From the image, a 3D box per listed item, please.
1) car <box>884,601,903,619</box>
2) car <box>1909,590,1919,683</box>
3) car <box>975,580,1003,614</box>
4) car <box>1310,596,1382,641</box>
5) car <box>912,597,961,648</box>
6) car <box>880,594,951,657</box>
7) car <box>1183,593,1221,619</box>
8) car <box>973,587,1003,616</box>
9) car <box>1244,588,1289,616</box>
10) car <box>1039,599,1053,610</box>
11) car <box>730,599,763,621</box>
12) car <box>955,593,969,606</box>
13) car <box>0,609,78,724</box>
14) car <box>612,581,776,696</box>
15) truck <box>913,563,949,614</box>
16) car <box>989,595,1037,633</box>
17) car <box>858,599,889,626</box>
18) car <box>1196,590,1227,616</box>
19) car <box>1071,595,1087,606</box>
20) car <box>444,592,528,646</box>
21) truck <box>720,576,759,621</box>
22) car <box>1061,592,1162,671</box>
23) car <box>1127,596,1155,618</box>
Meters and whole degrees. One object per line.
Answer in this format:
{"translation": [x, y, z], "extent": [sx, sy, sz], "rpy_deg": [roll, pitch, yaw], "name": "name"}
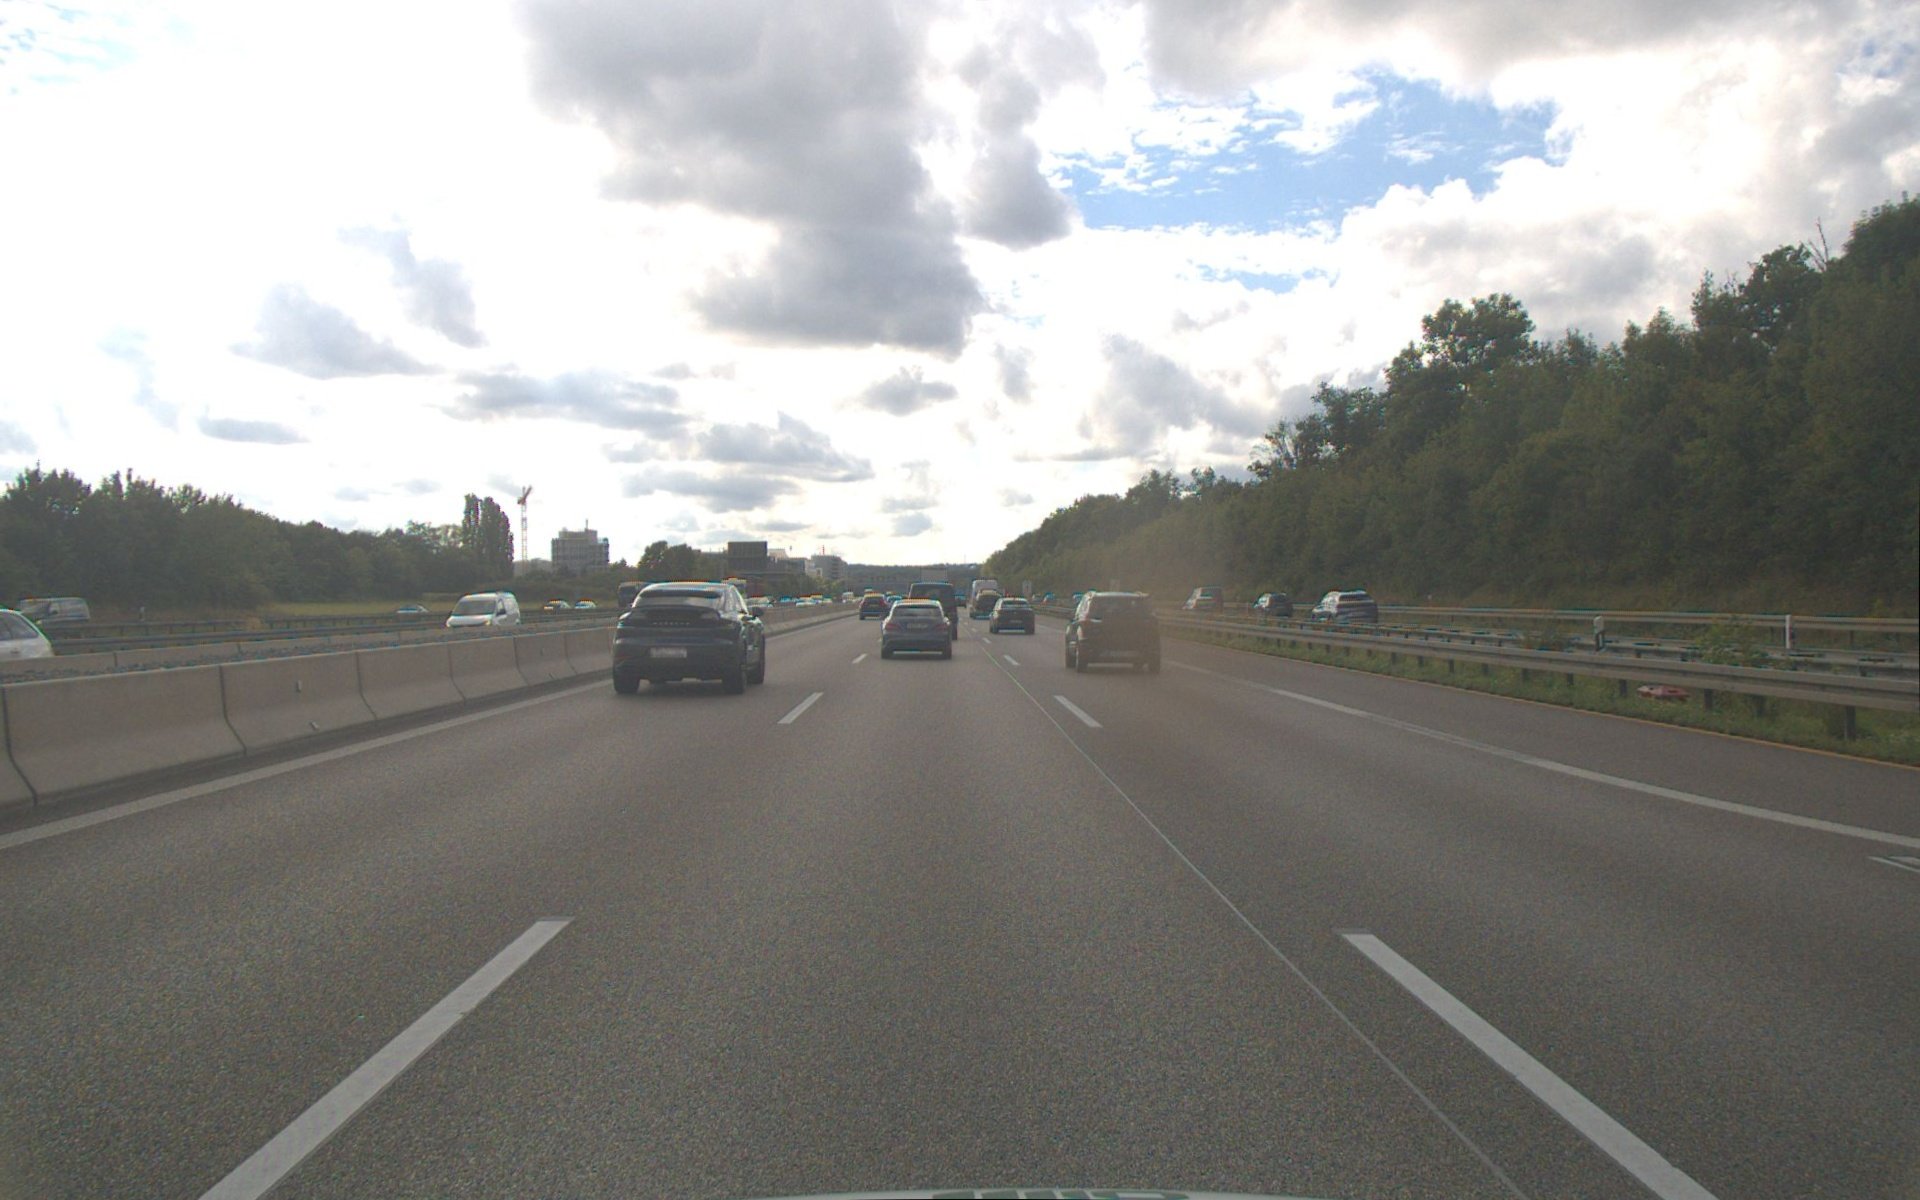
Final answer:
{"translation": [-5.997, 0.872, 149.737], "extent": [1.663, 1.639, 4.112], "rpy_deg": [0, 0, -2], "name": "car"}
{"translation": [16.433, 0.571, 24.727], "extent": [1.806, 1.510, 4.525], "rpy_deg": [-2, 0, -1], "name": "car"}
{"translation": [2.085, -0.231, 118.690], "extent": [1.835, 2.399, 4.281], "rpy_deg": [0, 0, -1], "name": "car"}
{"translation": [15.854, 0.732, 68.114], "extent": [1.809, 1.679, 4.305], "rpy_deg": [-2, 0, -1], "name": "car"}
{"translation": [-0.861, 0.793, 59.591], "extent": [1.686, 1.754, 4.390], "rpy_deg": [0, 0, -1], "name": "car"}
{"translation": [-1.117, 0.609, 41.755], "extent": [1.686, 1.505, 4.390], "rpy_deg": [0, 0, -1], "name": "car"}
{"translation": [14.972, 0.369, 102.470], "extent": [1.563, 1.573, 4.188], "rpy_deg": [0, 0, -3], "name": "car"}
{"translation": [1.871, 0.097, 111.848], "extent": [1.874, 1.952, 4.029], "rpy_deg": [0, 0, -1], "name": "car"}
{"translation": [18.341, 0.100, 99.111], "extent": [1.694, 1.573, 4.303], "rpy_deg": [-2, 0, -3], "name": "car"}
{"translation": [12.036, 0.608, 231.822], "extent": [1.694, 1.560, 4.451], "rpy_deg": [-1, 0, -1], "name": "car"}
{"translation": [-14.356, 0.659, 111.171], "extent": [1.721, 1.427, 4.074], "rpy_deg": [0, 0, -1], "name": "car"}
{"translation": [0.194, -0.089, 213.774], "extent": [1.716, 1.725, 4.189], "rpy_deg": [0, 0, -1], "name": "car"}
{"translation": [-12.864, 0.861, 20.353], "extent": [1.632, 1.426, 4.533], "rpy_deg": [-1, 0, -1], "name": "car"}
{"translation": [-4.176, 0.548, 26.814], "extent": [1.873, 1.664, 5.499], "rpy_deg": [0, 0, -1], "name": "car"}
{"translation": [-2.660, -1.035, 151.631], "extent": [3.197, 4.451, 11.023], "rpy_deg": [1, 0, -1], "name": "truck"}
{"translation": [2.195, 0.571, 69.228], "extent": [1.795, 1.547, 4.224], "rpy_deg": [0, 0, -1], "name": "car"}
{"translation": [-5.468, 0.789, 105.059], "extent": [1.835, 1.728, 4.071], "rpy_deg": [0, 0, -1], "name": "car"}
{"translation": [18.500, 0.221, 121.639], "extent": [1.563, 1.835, 3.823], "rpy_deg": [0, 0, -3], "name": "car"}
{"translation": [16.467, 0.088, 228.406], "extent": [1.717, 1.543, 4.188], "rpy_deg": [0, 0, -2], "name": "car"}
{"translation": [-16.876, 0.647, 59.124], "extent": [1.698, 1.826, 5.123], "rpy_deg": [0, 0, -2], "name": "car"}
{"translation": [-22.185, -0.129, 166.494], "extent": [2.985, 4.364, 8.586], "rpy_deg": [0, 0, -2], "name": "truck"}
{"translation": [3.151, 0.623, 35.136], "extent": [1.663, 1.592, 4.112], "rpy_deg": [0, 0, -2], "name": "car"}
{"translation": [14.501, 0.529, 133.001], "extent": [1.716, 1.725, 4.189], "rpy_deg": [0, 0, -1], "name": "car"}
